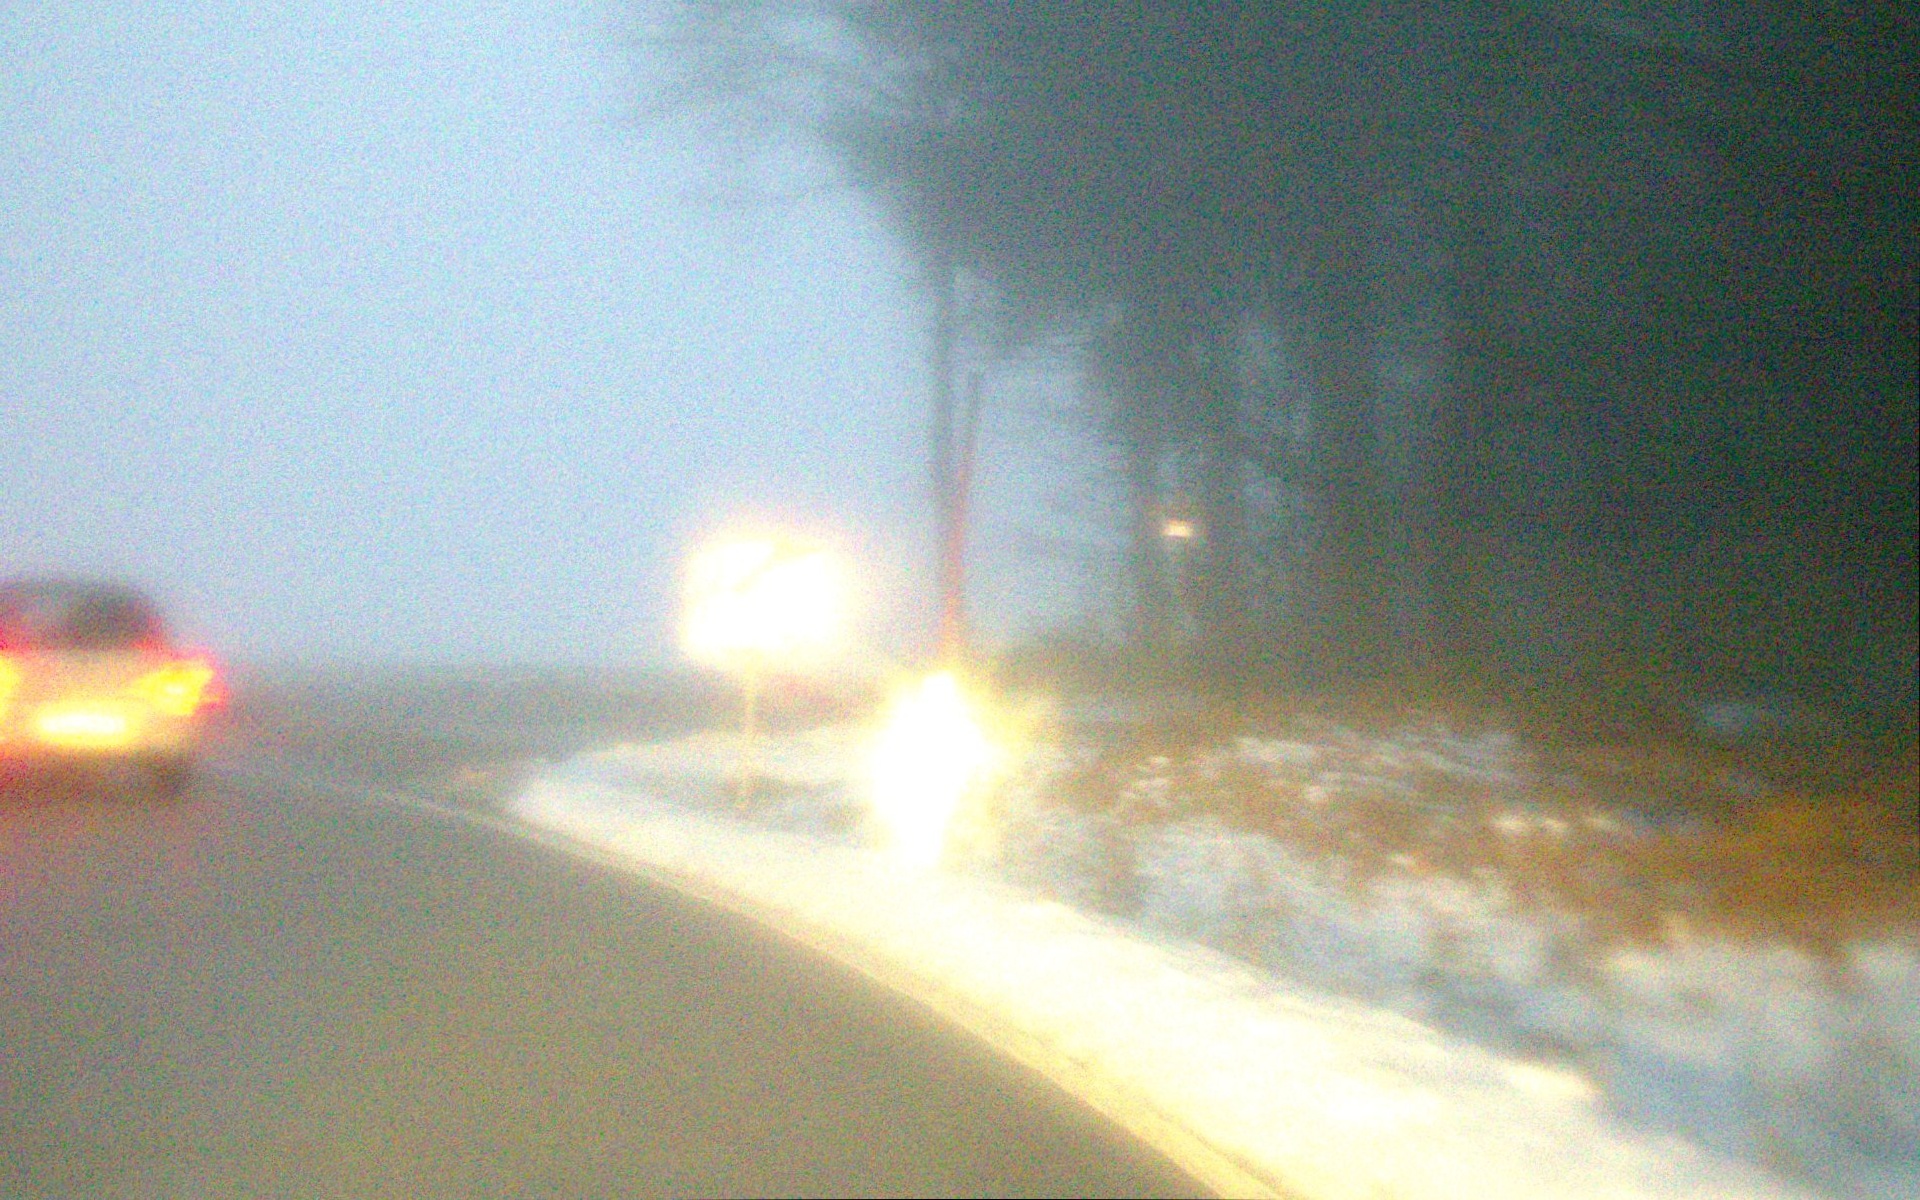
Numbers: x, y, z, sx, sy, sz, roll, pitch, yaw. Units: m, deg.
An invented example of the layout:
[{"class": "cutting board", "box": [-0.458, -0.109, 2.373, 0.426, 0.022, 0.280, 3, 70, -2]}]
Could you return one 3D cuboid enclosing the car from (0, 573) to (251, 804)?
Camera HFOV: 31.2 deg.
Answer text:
[{"class": "car", "box": [-6.054, 0.524, 22.997, 1.945, 1.376, 4.001, 0, 1, -21]}]
